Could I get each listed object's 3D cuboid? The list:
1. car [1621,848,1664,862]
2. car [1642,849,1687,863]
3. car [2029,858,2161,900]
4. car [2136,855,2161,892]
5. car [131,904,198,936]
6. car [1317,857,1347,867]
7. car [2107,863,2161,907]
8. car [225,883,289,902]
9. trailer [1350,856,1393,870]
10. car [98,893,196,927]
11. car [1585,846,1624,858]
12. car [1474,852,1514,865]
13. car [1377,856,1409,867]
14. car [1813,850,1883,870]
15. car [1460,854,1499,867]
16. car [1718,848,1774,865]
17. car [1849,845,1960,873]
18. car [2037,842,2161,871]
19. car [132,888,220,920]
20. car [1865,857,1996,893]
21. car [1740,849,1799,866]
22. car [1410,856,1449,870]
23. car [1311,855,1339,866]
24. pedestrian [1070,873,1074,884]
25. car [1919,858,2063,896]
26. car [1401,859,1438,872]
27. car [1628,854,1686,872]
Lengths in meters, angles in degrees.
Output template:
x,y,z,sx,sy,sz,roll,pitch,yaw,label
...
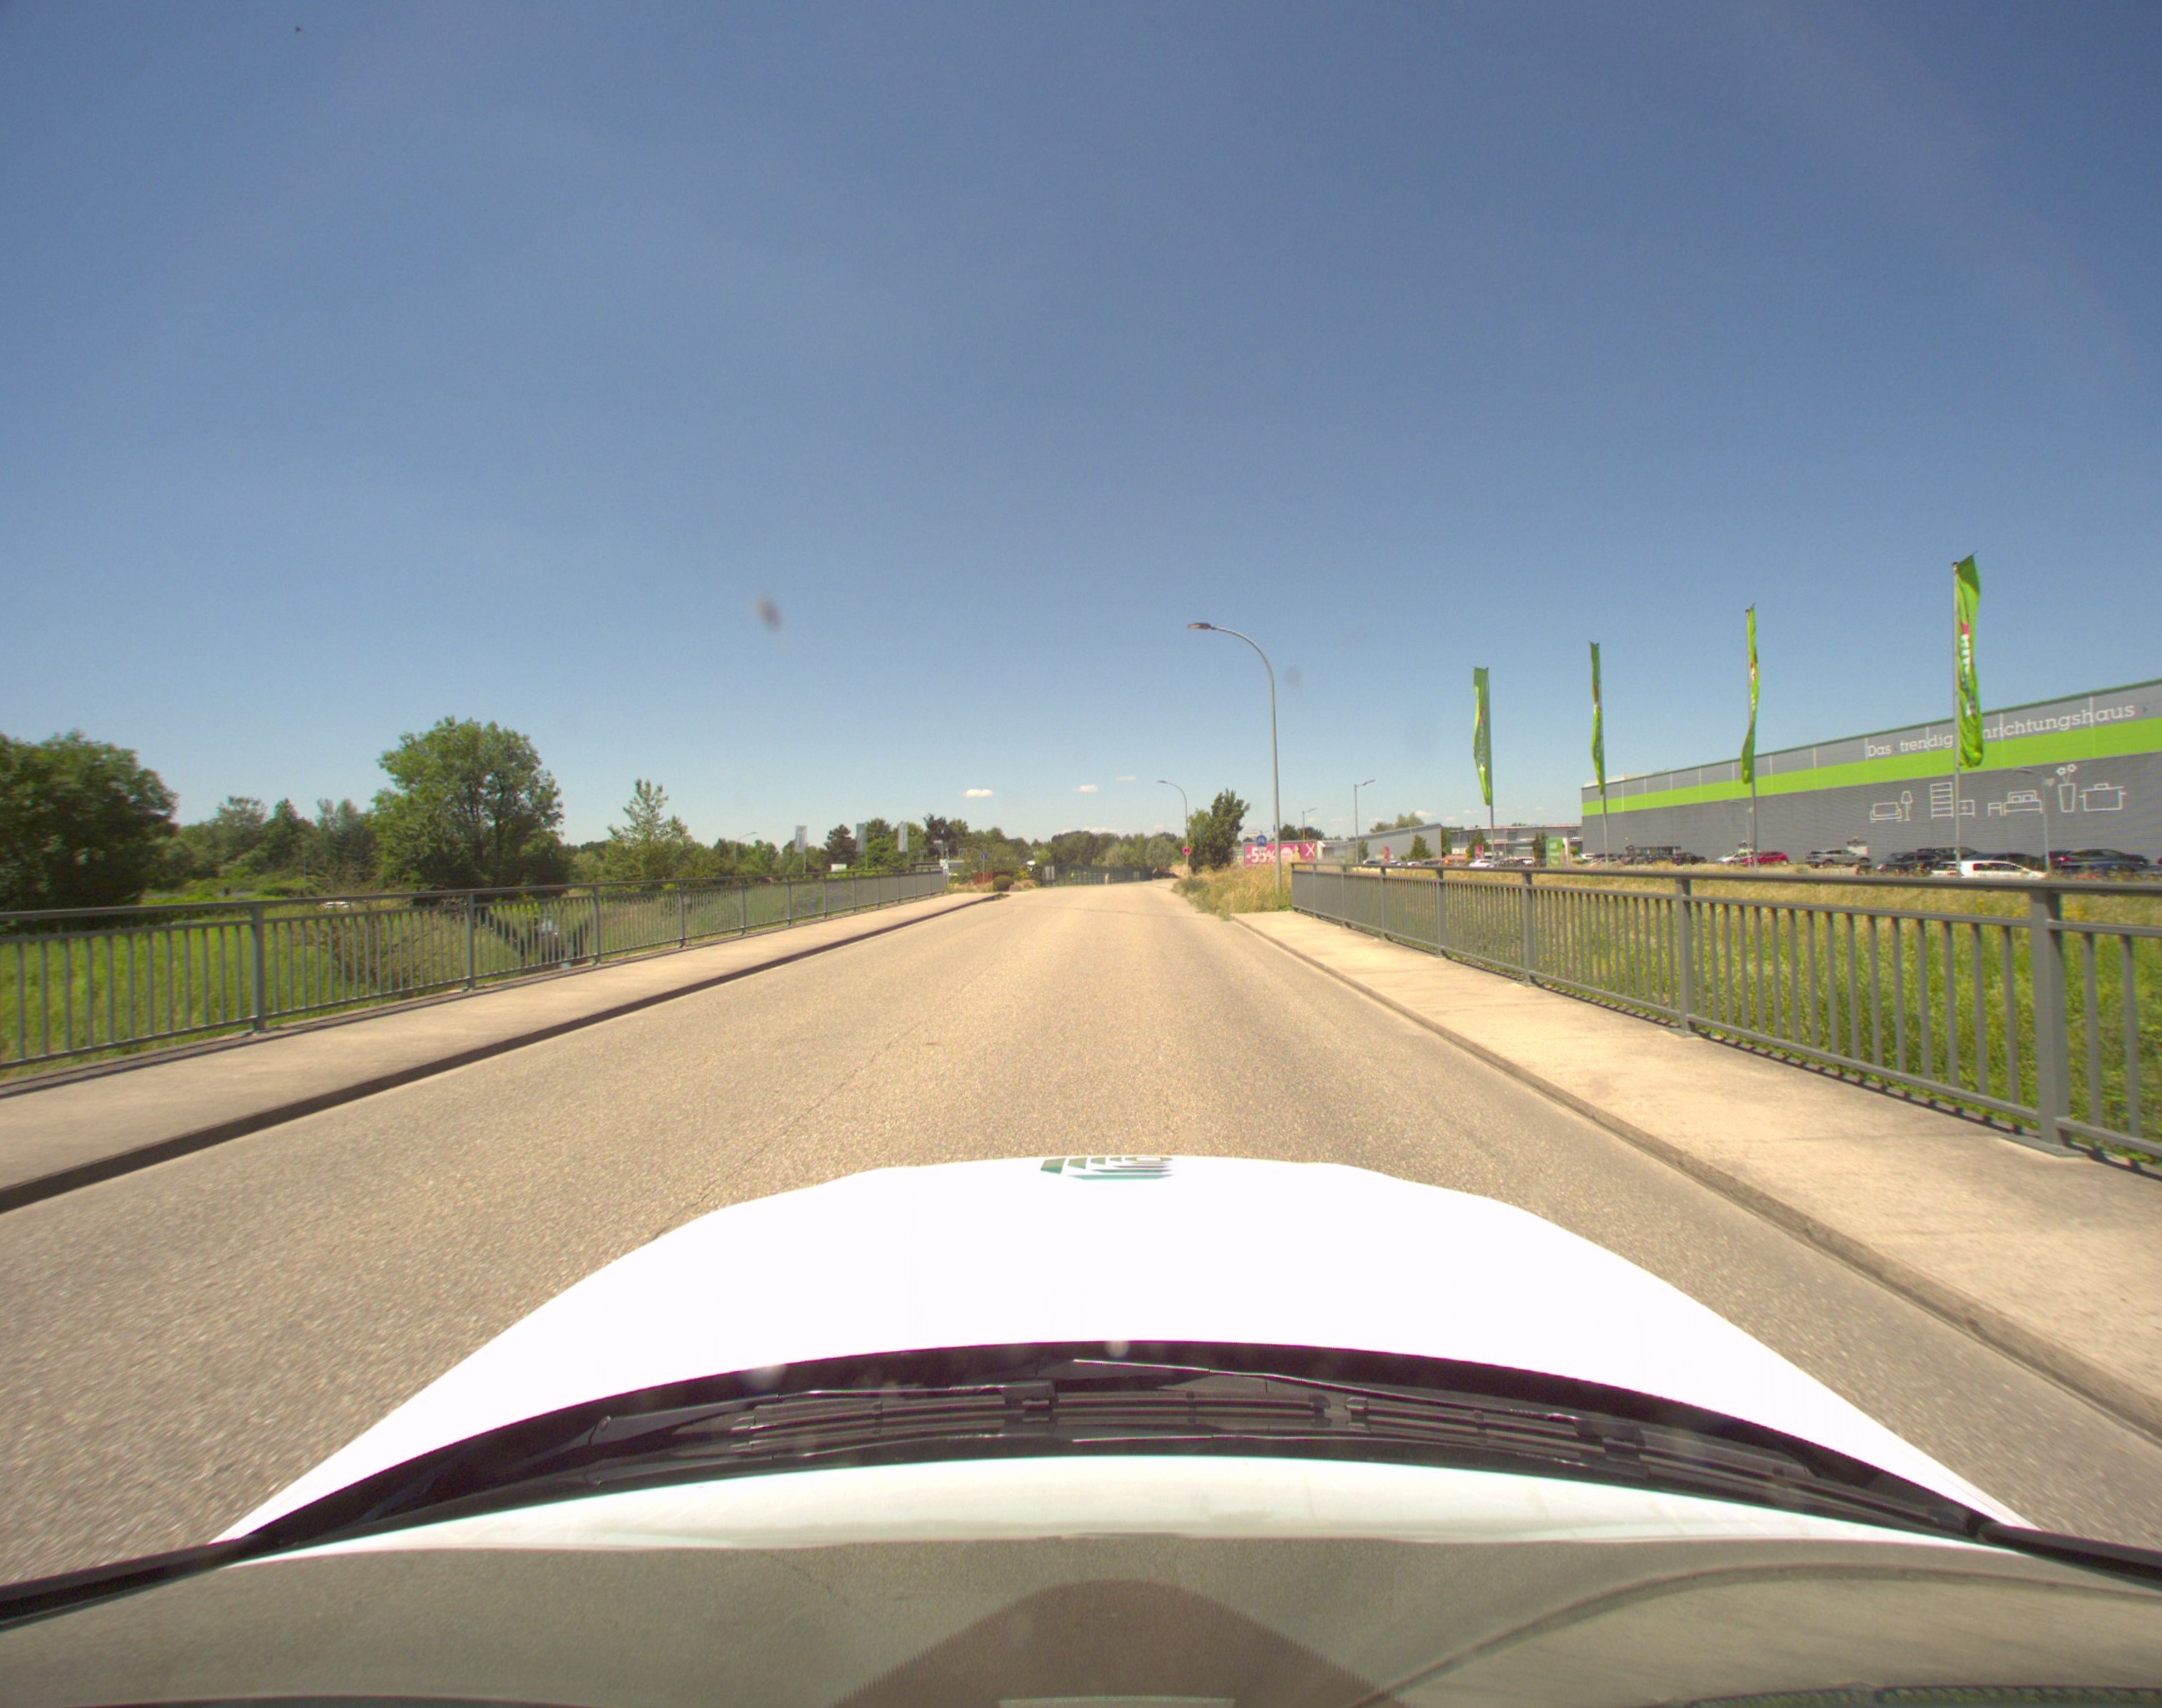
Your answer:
x,y,z,sx,sy,sz,roll,pitch,yaw,label
70.876,0.138,102.908,3.970,1.519,2.002,-2,-2,3,car
71.012,0.234,99.095,3.970,1.519,2.002,-2,-2,3,car
40.025,0.958,31.533,3.963,1.462,1.952,-2,-2,9,car
46.701,0.744,33.347,3.963,1.505,1.952,-2,-2,9,car
-53.968,3.848,48.057,2.010,1.596,3.953,-2,0,-40,car
34.813,1.111,113.142,3.713,1.444,1.948,-1,-1,9,car
39.338,1.027,28.496,3.963,1.462,1.952,-2,-2,9,car
-79.955,3.735,79.094,4.017,1.571,1.978,-3,0,-36,car
30.835,0.928,86.577,3.965,1.398,1.768,-1,-1,7,trailer
-65.524,3.883,57.250,4.017,1.999,2.243,-3,0,-35,car
72.085,-0.243,112.235,3.970,1.519,2.001,-2,-2,3,car
50.943,0.568,100.539,3.965,1.519,2.004,-2,-2,7,car
41.743,1.042,109.049,3.713,1.444,1.948,-1,-1,9,car
65.853,0.510,69.984,3.970,1.519,2.002,-2,-2,3,car
51.139,0.815,104.552,3.965,1.519,2.004,-2,-2,7,car
67.697,0.252,82.992,3.970,1.475,2.002,-2,-2,3,car
50.140,0.309,49.677,4.381,1.519,2.004,-2,-2,8,car
61.269,0.181,49.091,4.631,1.519,2.002,-2,-2,4,car
-68.518,3.755,61.765,4.017,1.999,2.243,-3,0,-35,car
41.014,1.033,39.419,3.963,1.531,1.952,-2,-2,9,car
67.503,0.324,79.842,3.970,1.519,2.002,-2,-2,3,car
39.344,1.006,92.005,3.713,1.570,1.895,-1,-1,9,car
35.744,0.969,119.494,3.713,1.444,1.948,-1,-1,9,car
-1.563,4.285,141.898,0.602,1.839,0.807,-3,-2,11,pedestrian
40.960,1.039,36.770,3.963,1.531,1.952,-2,-2,9,car
39.538,1.343,95.162,3.713,1.444,1.948,-1,-1,9,car
53.813,0.899,76.159,3.969,1.519,2.002,-2,-2,4,car
